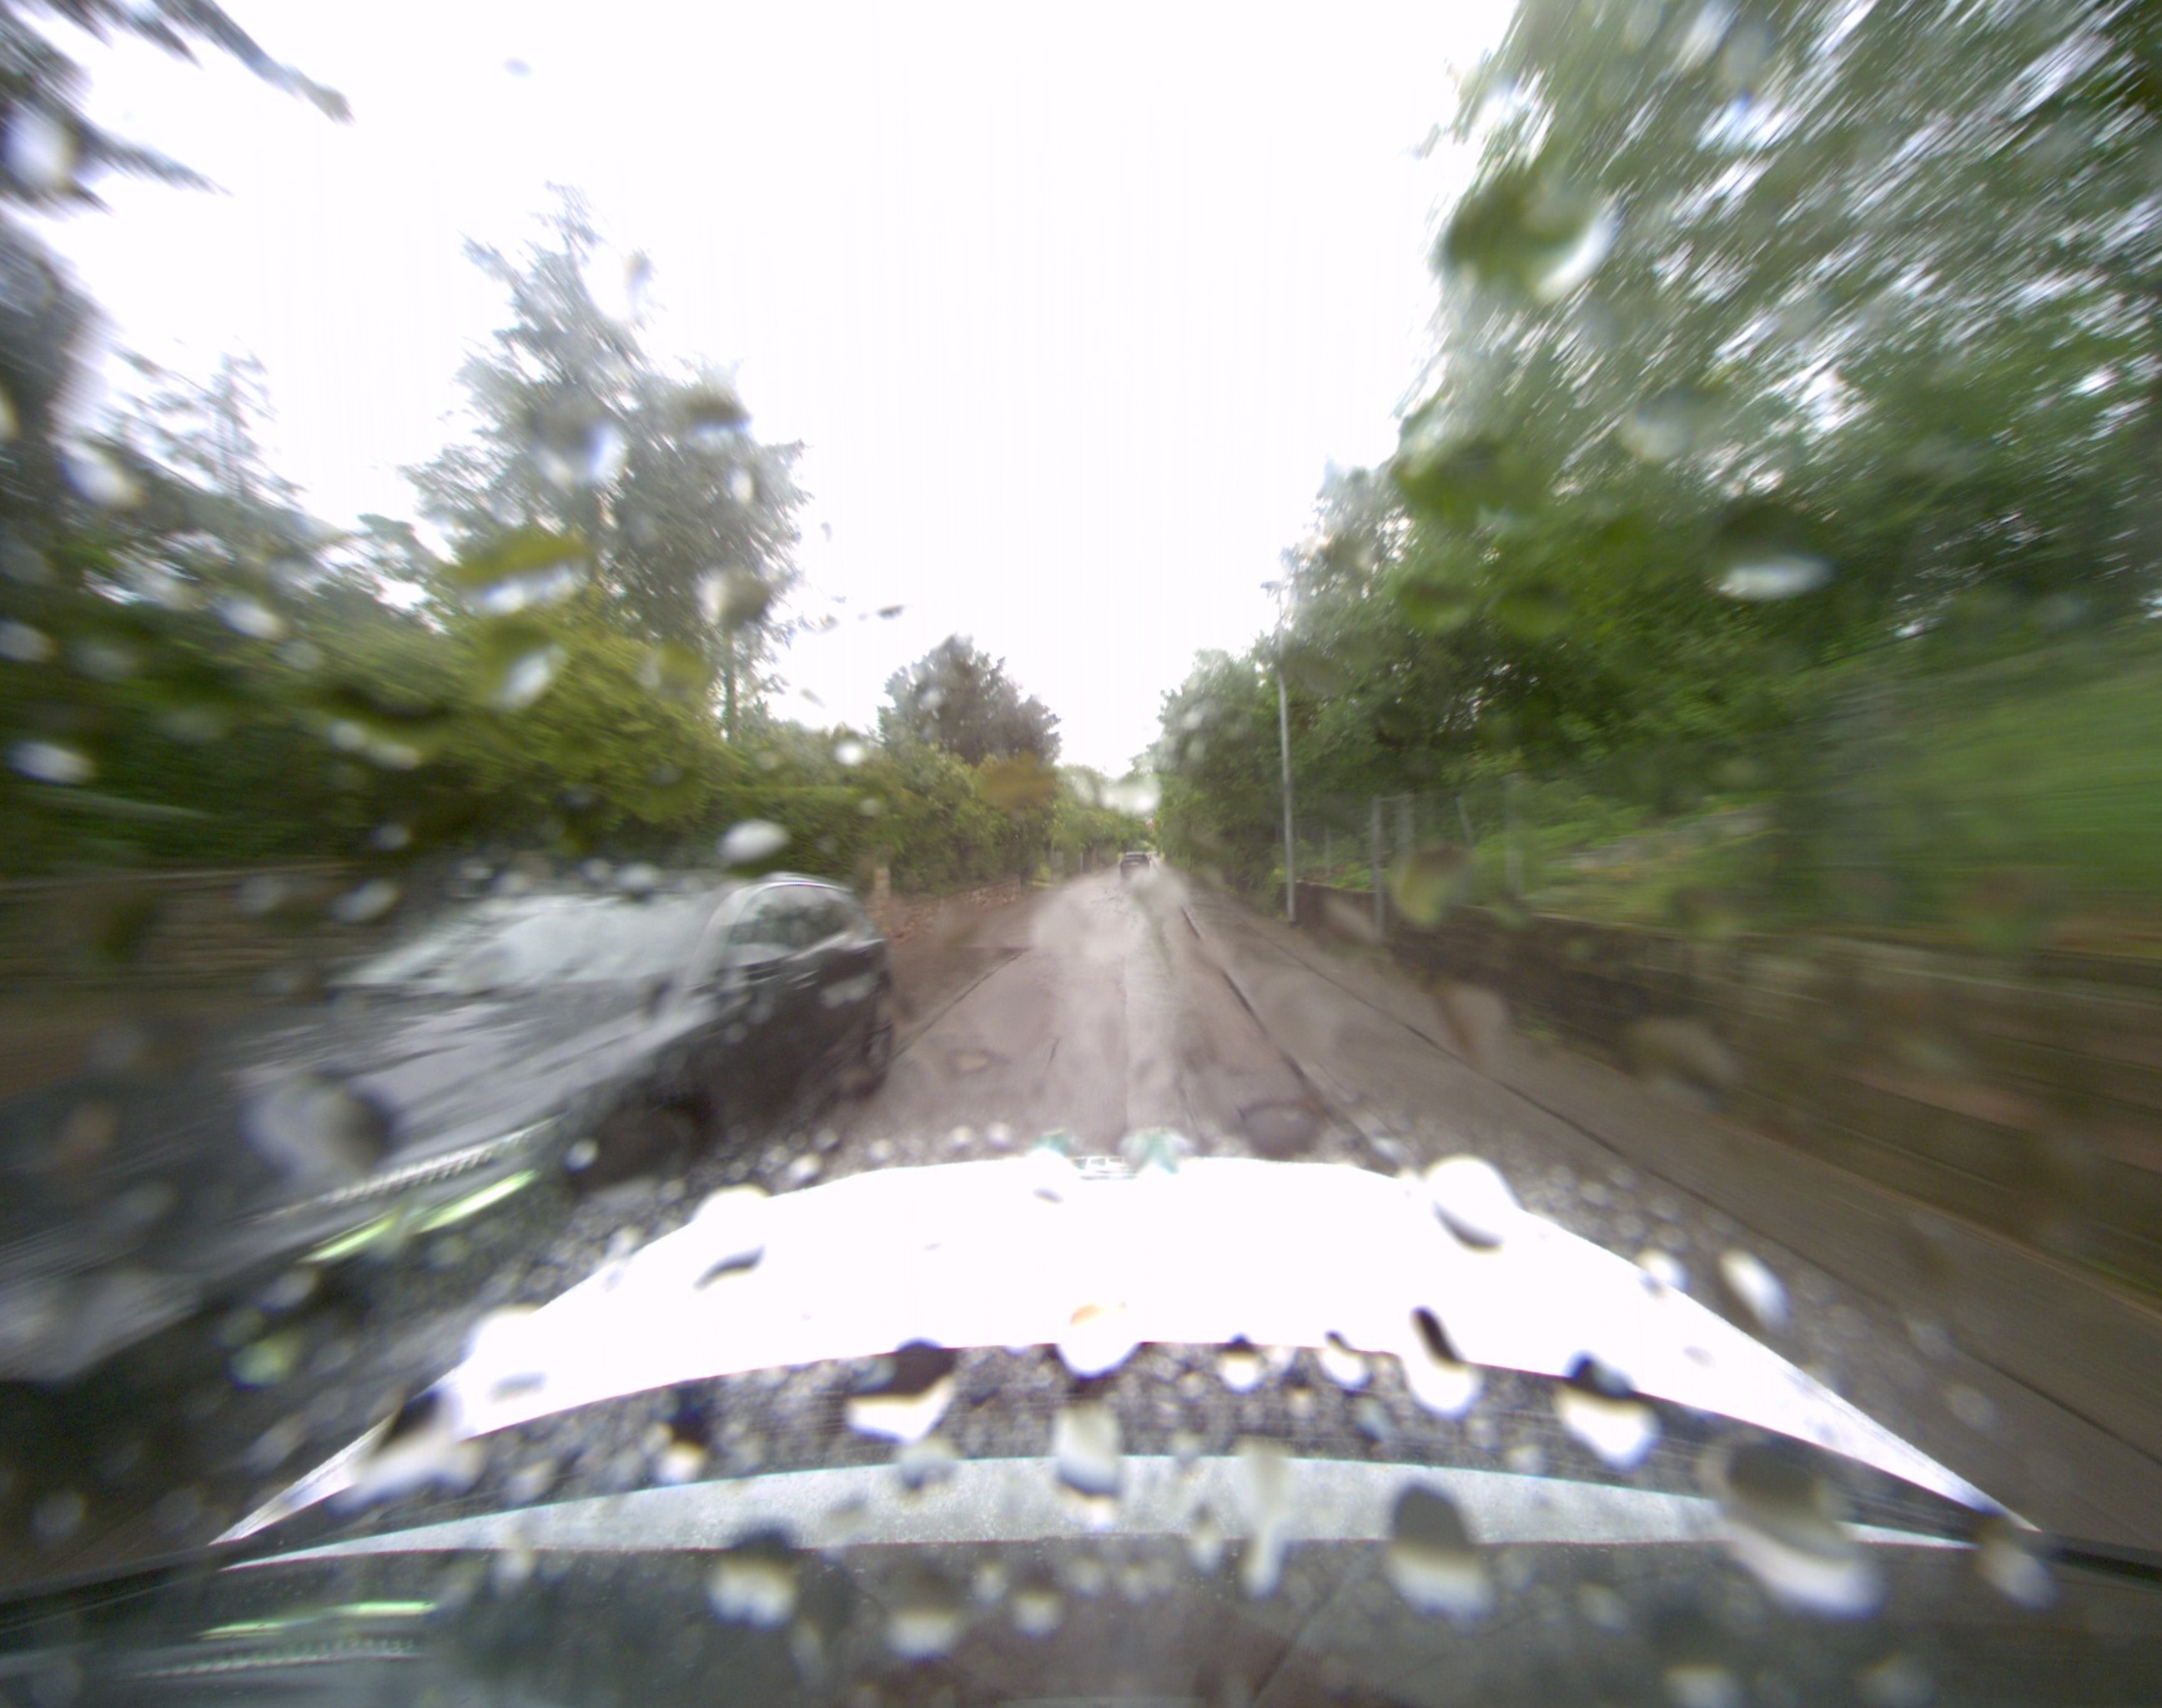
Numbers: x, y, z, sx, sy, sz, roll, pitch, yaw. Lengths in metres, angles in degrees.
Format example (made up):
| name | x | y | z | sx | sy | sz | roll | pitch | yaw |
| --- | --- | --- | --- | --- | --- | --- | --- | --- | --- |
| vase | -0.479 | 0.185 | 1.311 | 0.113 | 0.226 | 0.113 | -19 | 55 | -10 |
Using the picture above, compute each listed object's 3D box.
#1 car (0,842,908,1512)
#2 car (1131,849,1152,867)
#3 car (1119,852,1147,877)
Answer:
| name | x | y | z | sx | sy | sz | roll | pitch | yaw |
| --- | --- | --- | --- | --- | --- | --- | --- | --- | --- |
| car | -2.326 | 0.787 | 4.103 | 1.882 | 1.523 | 4.421 | -1 | -1 | 1 |
| car | 5.359 | 0.370 | 71.712 | 1.626 | 1.414 | 3.550 | -1 | -1 | 6 |
| car | 3.201 | 0.665 | 49.796 | 1.627 | 1.450 | 3.549 | -1 | -1 | 5 |
